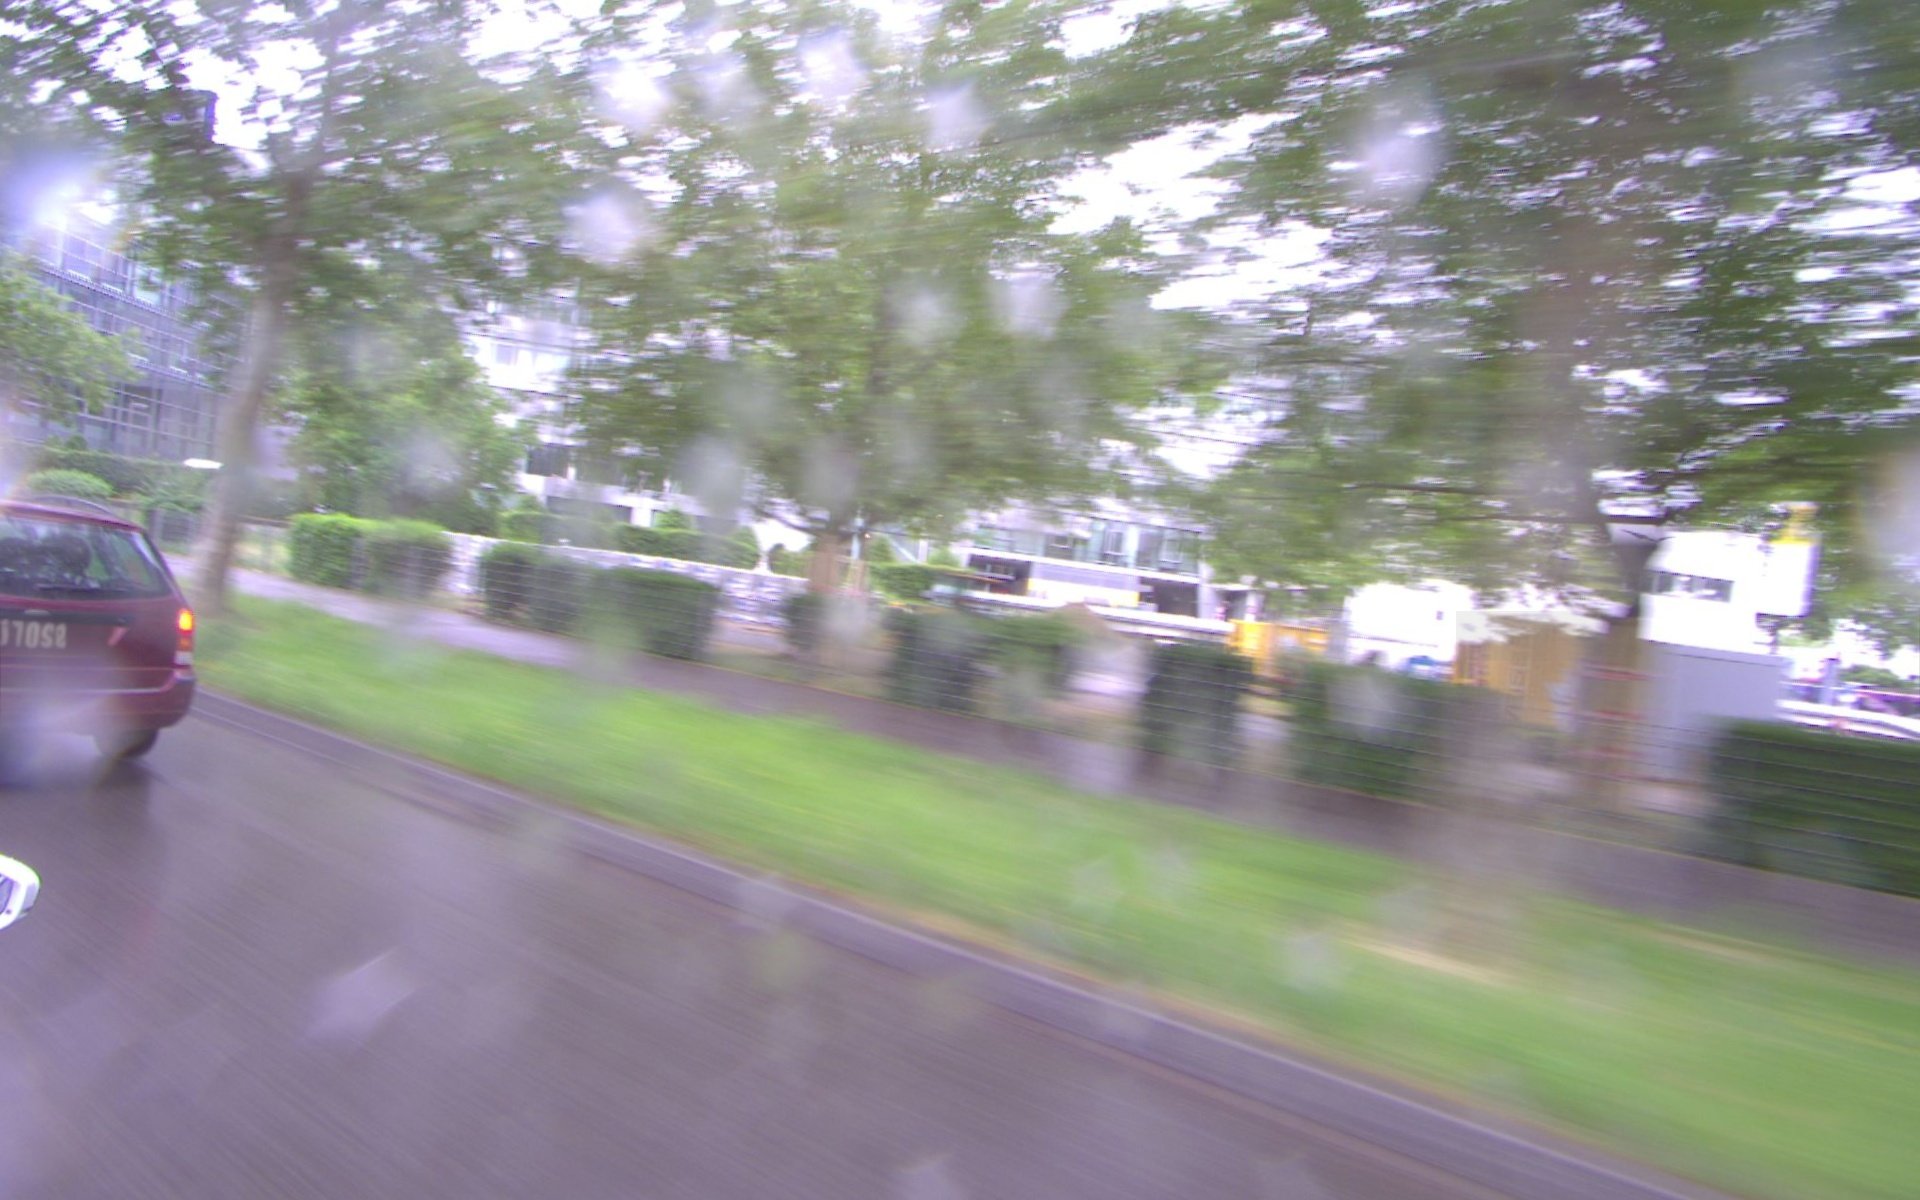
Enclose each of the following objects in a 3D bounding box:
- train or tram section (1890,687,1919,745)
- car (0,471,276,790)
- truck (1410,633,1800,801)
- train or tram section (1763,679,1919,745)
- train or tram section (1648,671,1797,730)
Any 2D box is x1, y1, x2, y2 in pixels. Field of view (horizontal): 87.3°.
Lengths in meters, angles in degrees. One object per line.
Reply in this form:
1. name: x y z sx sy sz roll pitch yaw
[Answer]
1. train or tram section: 62.467 7.496 61.516 2.358 3.561 8.527 7 -2 -6
2. car: -6.266 -0.031 6.127 4.043 1.555 1.843 7 -1 31
3. truck: 15.429 2.567 25.460 3.026 3.067 9.501 7 -2 -4
4. train or tram section: 61.498 7.669 70.314 2.358 3.561 9.108 7 -2 -6
5. train or tram section: 60.413 7.864 80.221 2.358 3.561 10.842 7 -2 -6
